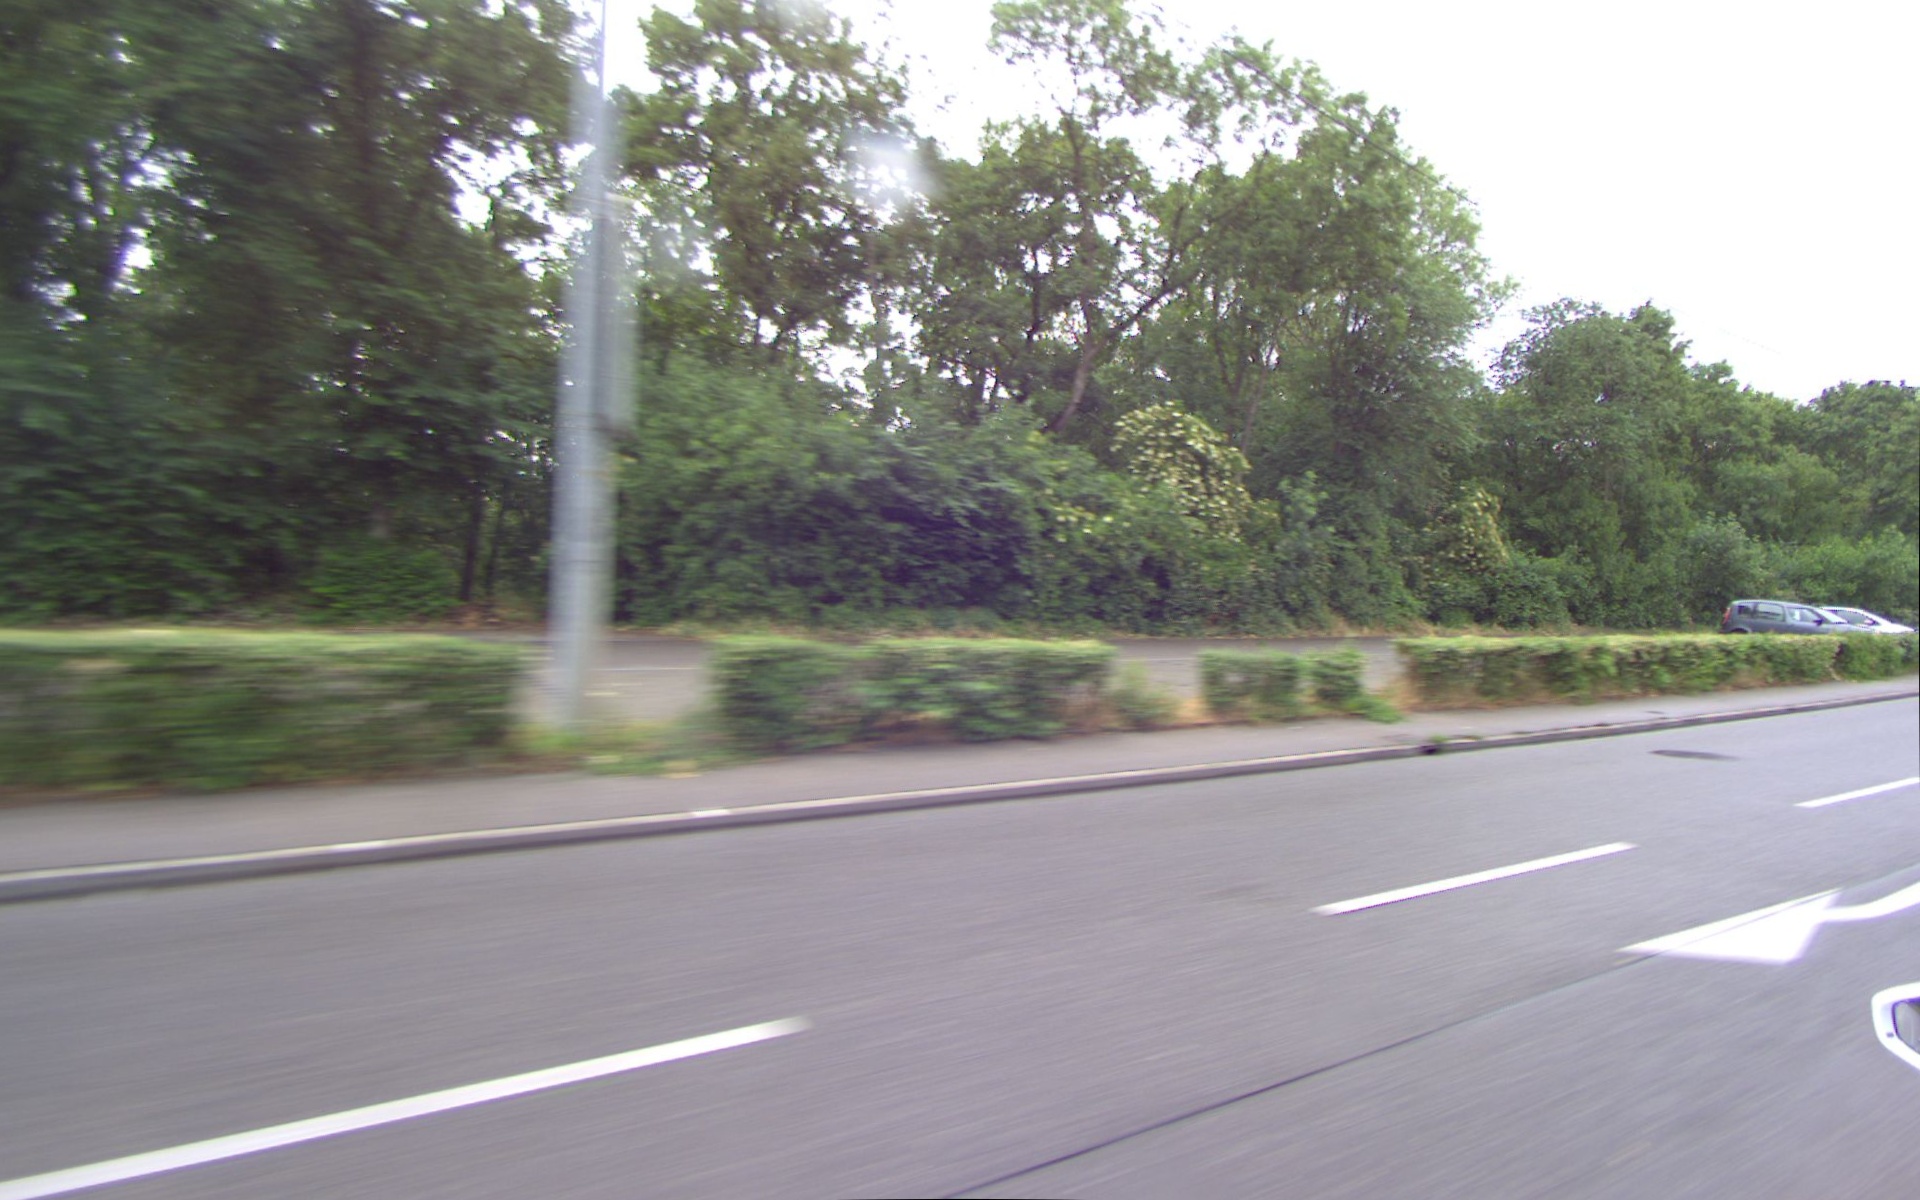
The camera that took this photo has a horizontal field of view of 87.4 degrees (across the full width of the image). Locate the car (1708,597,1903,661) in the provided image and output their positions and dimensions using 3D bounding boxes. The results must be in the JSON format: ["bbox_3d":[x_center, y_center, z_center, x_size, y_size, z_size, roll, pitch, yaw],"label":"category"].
[{"bbox_3d":[26.579,0.873,31.723,1.978,1.731,4.266,1,1,-32],"label":"car"}]

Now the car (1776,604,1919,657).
[{"bbox_3d":[31.055,1.029,35.093,1.836,1.612,3.615,1,2,-39],"label":"car"}]
